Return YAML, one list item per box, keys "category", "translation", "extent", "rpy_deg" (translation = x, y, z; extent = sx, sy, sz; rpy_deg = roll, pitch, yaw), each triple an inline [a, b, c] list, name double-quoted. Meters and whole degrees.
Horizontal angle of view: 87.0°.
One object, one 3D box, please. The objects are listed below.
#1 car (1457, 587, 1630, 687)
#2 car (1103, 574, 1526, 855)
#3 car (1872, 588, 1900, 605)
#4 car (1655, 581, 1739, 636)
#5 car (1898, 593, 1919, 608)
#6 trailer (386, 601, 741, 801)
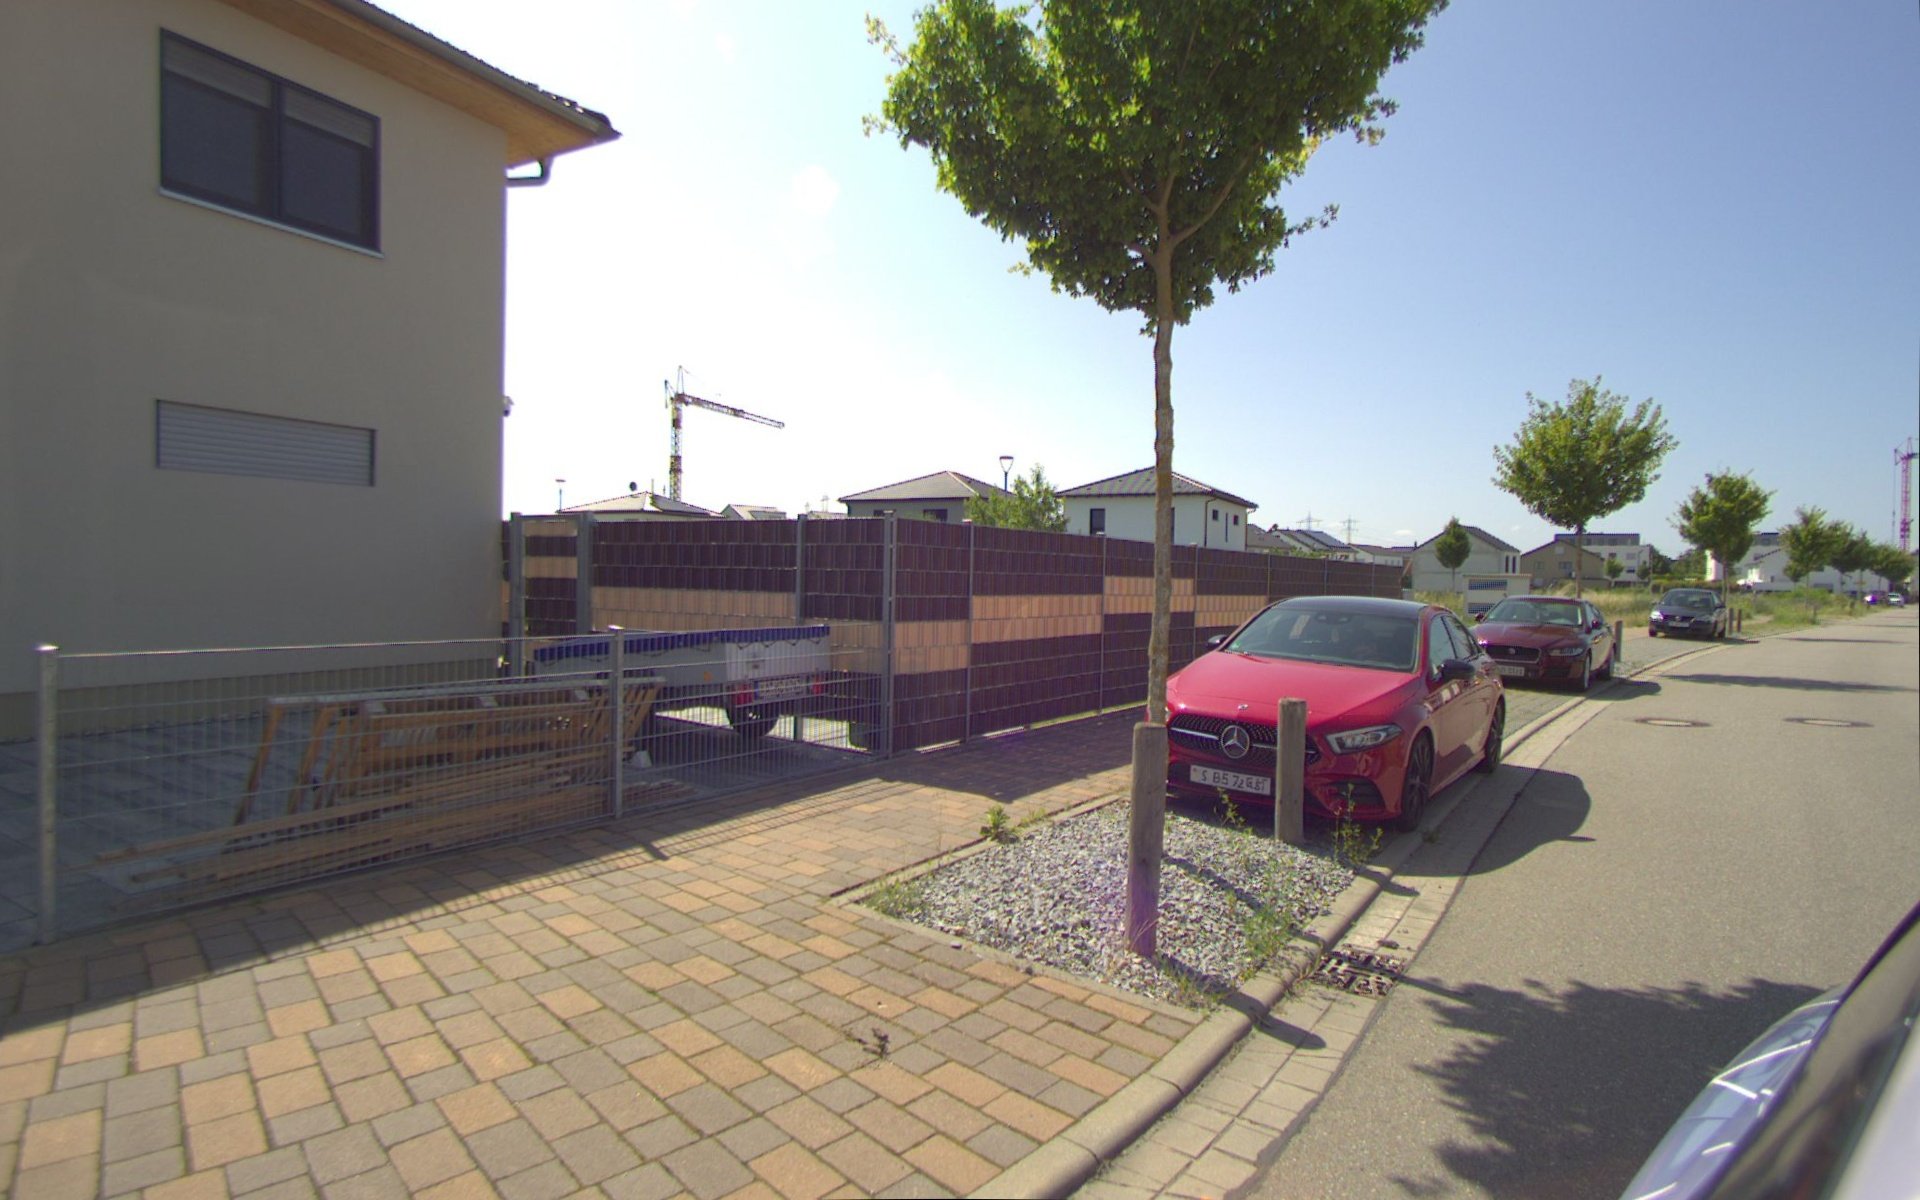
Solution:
- category: "car"
  translation: [9.883, 0.509, 16.972]
  extent: [1.753, 1.380, 4.509]
  rpy_deg: [3, 2, 40]
- category: "car"
  translation: [2.983, 0.577, 7.794]
  extent: [1.759, 1.455, 4.459]
  rpy_deg: [4, 3, 37]
- category: "car"
  translation: [86.390, -0.373, 94.410]
  extent: [3.935, 1.510, 1.765]
  rpy_deg: [-1, 2, -45]
- category: "car"
  translation: [22.382, 0.226, 30.700]
  extent: [1.598, 1.493, 3.618]
  rpy_deg: [5, 4, 42]
- category: "car"
  translation: [99.726, 0.035, 106.417]
  extent: [3.219, 1.414, 1.490]
  rpy_deg: [-1, 2, -45]
- category: "trailer"
  translation: [-2.718, 0.578, 6.880]
  extent: [2.228, 0.971, 1.143]
  rpy_deg: [5, 3, 32]
